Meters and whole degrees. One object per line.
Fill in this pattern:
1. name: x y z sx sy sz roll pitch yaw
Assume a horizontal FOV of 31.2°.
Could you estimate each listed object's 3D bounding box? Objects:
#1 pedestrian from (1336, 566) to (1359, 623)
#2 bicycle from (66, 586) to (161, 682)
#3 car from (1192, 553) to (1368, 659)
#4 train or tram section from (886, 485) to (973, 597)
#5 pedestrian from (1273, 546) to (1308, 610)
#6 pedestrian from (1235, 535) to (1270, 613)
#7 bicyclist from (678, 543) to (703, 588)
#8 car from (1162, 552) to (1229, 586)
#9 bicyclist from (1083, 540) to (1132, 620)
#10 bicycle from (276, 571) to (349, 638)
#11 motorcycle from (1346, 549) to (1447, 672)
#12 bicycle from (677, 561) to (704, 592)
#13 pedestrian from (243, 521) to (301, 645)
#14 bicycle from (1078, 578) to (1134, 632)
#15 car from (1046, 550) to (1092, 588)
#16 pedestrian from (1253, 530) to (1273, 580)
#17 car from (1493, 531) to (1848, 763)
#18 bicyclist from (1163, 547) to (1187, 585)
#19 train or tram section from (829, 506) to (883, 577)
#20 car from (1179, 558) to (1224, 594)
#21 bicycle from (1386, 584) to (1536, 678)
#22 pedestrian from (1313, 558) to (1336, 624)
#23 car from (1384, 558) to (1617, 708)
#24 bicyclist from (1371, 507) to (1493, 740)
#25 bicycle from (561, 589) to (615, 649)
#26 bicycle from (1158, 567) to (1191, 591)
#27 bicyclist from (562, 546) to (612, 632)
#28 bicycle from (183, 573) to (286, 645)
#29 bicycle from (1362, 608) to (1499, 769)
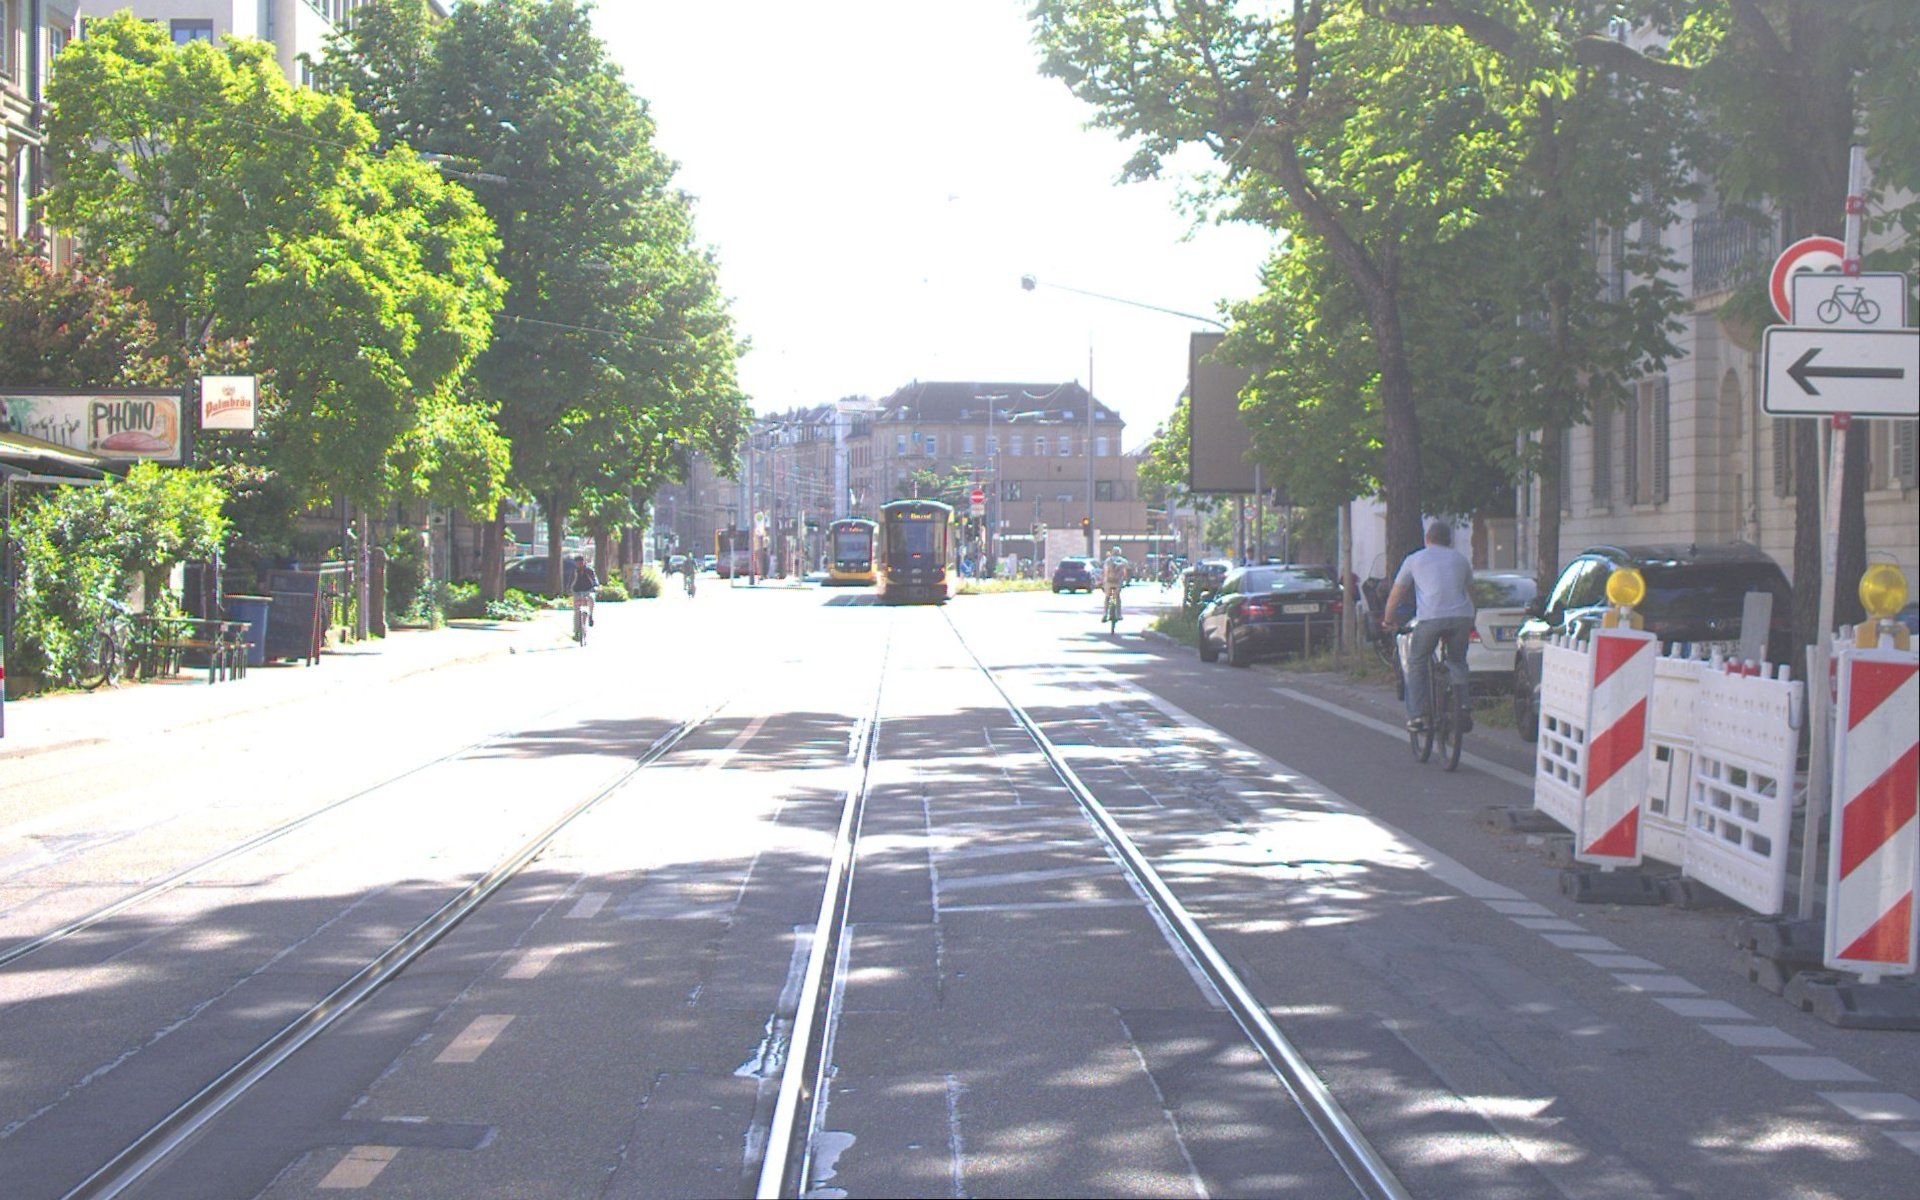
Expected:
1. pedestrian: 9.435 -0.139 83.702 0.518 1.399 0.764 0 1 2
2. bicycle: -9.998 0.391 40.666 0.638 1.055 1.743 3 1 0
3. car: 4.736 0.052 51.519 1.821 1.453 4.819 -1 1 -4
4. train or tram section: -1.149 -2.070 118.726 2.742 3.639 13.787 0 1 -2
5. pedestrian: 8.619 -0.565 89.654 0.857 1.635 0.993 0 -1 2
6. pedestrian: 6.996 -0.619 82.183 0.683 1.843 0.955 -1 1 -2
7. bicyclist: -9.861 -1.262 125.747 0.687 1.639 1.237 -2 1 3
8. car: 11.979 -1.575 174.736 1.705 1.638 3.705 2 1 34
9. bicyclist: 3.153 -0.428 73.535 0.705 1.669 1.100 2 1 19
10. bicycle: -10.480 0.058 55.696 0.590 1.042 1.904 2 1 7
11. motorcycle: 5.493 0.110 43.409 0.913 1.483 2.679 -2 1 1
12. bicycle: -9.849 -0.868 125.770 0.687 1.120 1.931 -2 1 3
13. pedestrian: -10.241 -0.253 51.190 0.576 1.825 0.689 1 1 18
14. bicycle: 3.136 0.092 73.546 0.705 1.101 1.715 2 1 19
15. car: 4.854 -1.372 152.269 1.789 1.599 3.712 2 1 5
16. pedestrian: 11.668 -1.716 132.407 0.637 1.897 1.134 -2 1 0
17. car: 5.506 0.303 27.207 1.810 1.620 4.584 -2 1 0
18. bicyclist: 9.691 -1.543 154.818 0.706 1.694 0.986 3 2 24
19. train or tram section: -5.506 -3.145 182.880 2.742 3.639 13.787 0 1 -2
20. car: 10.760 -1.061 153.306 1.789 1.506 3.712 2 1 2
21. bicycle: 5.797 0.357 39.850 1.619 1.039 0.685 -1 1 0
22. pedestrian: 8.878 -0.233 83.699 0.518 1.595 0.764 0 1 2
23. car: 5.433 0.286 35.015 1.724 1.377 4.356 -1 1 1
24. bicyclist: 3.507 0.163 25.626 0.738 1.680 0.972 2 1 1
25. bicycle: -7.094 0.355 65.610 0.745 1.078 1.899 -3 1 1
26. bicycle: 9.673 -0.951 154.854 0.706 1.051 2.310 3 2 24
27. bicyclist: -7.118 -0.210 65.684 0.745 1.594 1.118 -3 1 1
28. bicycle: -10.861 0.122 51.509 0.637 1.042 2.020 1 1 16
29. bicycle: 3.490 0.636 25.645 0.738 1.090 2.111 2 1 1
